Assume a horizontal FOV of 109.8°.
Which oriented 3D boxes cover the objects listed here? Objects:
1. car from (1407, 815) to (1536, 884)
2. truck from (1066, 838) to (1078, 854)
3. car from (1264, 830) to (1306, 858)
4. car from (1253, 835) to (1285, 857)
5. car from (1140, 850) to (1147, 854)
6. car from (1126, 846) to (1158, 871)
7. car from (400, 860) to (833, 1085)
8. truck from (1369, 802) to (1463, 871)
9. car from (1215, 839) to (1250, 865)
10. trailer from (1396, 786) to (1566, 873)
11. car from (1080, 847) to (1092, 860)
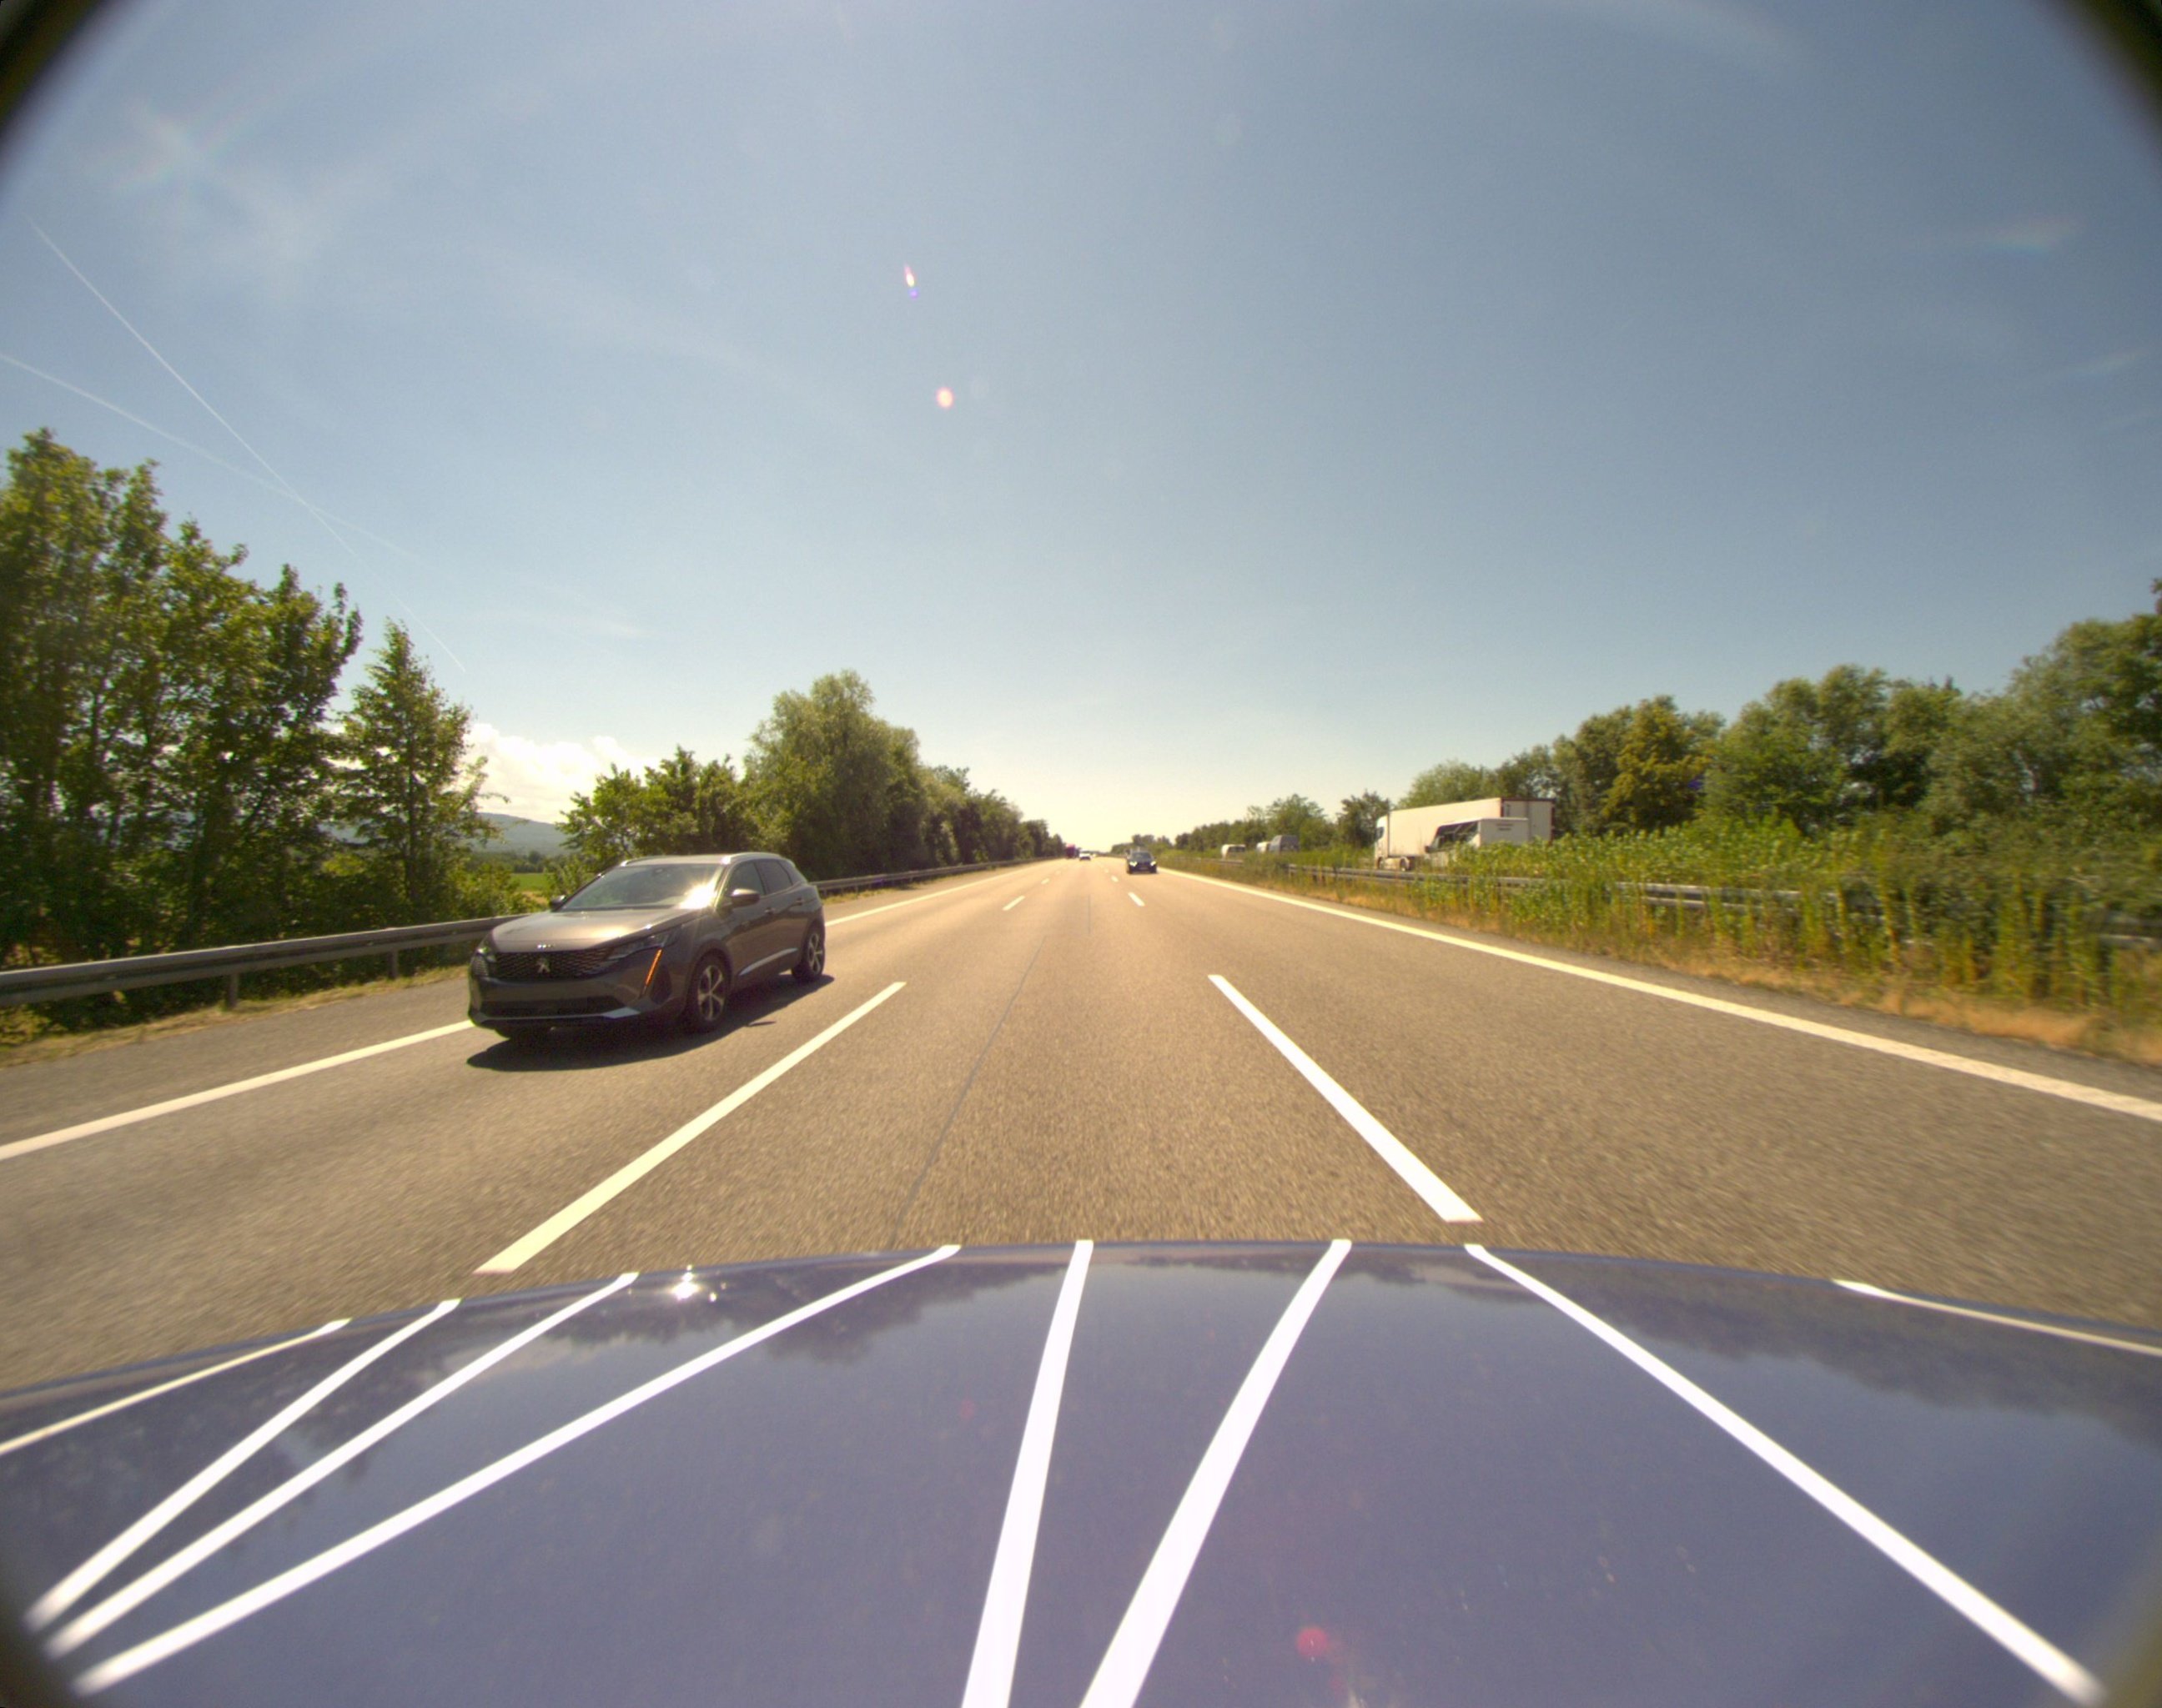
[{"bbox_3d":[17.478,-0.228,34.541,2.334,2.806,6.606,-1,1,-1],"label":"car"},{"bbox_3d":[-2.458,-2.115,208.449,2.938,3.933,10.261,-3,0,1],"label":"truck"},{"bbox_3d":[17.812,-0.858,66.540,2.215,2.349,5.297,-1,1,-1],"label":"car"},{"bbox_3d":[21.529,-0.870,87.297,2.108,2.449,6.015,-1,0,0],"label":"car"},{"bbox_3d":[19.943,-0.713,241.781,1.867,1.393,4.531,0,0,0],"label":"car"},{"bbox_3d":[3.913,0.289,49.151,1.736,1.433,4.000,-3,0,1],"label":"car"},{"bbox_3d":[-4.189,0.915,7.819,1.850,1.619,4.134,-1,0,0],"label":"car"},{"bbox_3d":[21.638,-1.050,49.485,3.079,4.087,6.525,-3,0,0],"label":"truck"},{"bbox_3d":[13.354,-0.191,67.170,1.930,2.108,5.278,-2,1,-1],"label":"car"},{"bbox_3d":[21.532,-1.137,42.207,3.055,4.015,12.234,-2,0,1],"label":"trailer"},{"bbox_3d":[0.853,-0.069,134.155,1.998,2.002,4.756,-3,0,1],"label":"car"}]
